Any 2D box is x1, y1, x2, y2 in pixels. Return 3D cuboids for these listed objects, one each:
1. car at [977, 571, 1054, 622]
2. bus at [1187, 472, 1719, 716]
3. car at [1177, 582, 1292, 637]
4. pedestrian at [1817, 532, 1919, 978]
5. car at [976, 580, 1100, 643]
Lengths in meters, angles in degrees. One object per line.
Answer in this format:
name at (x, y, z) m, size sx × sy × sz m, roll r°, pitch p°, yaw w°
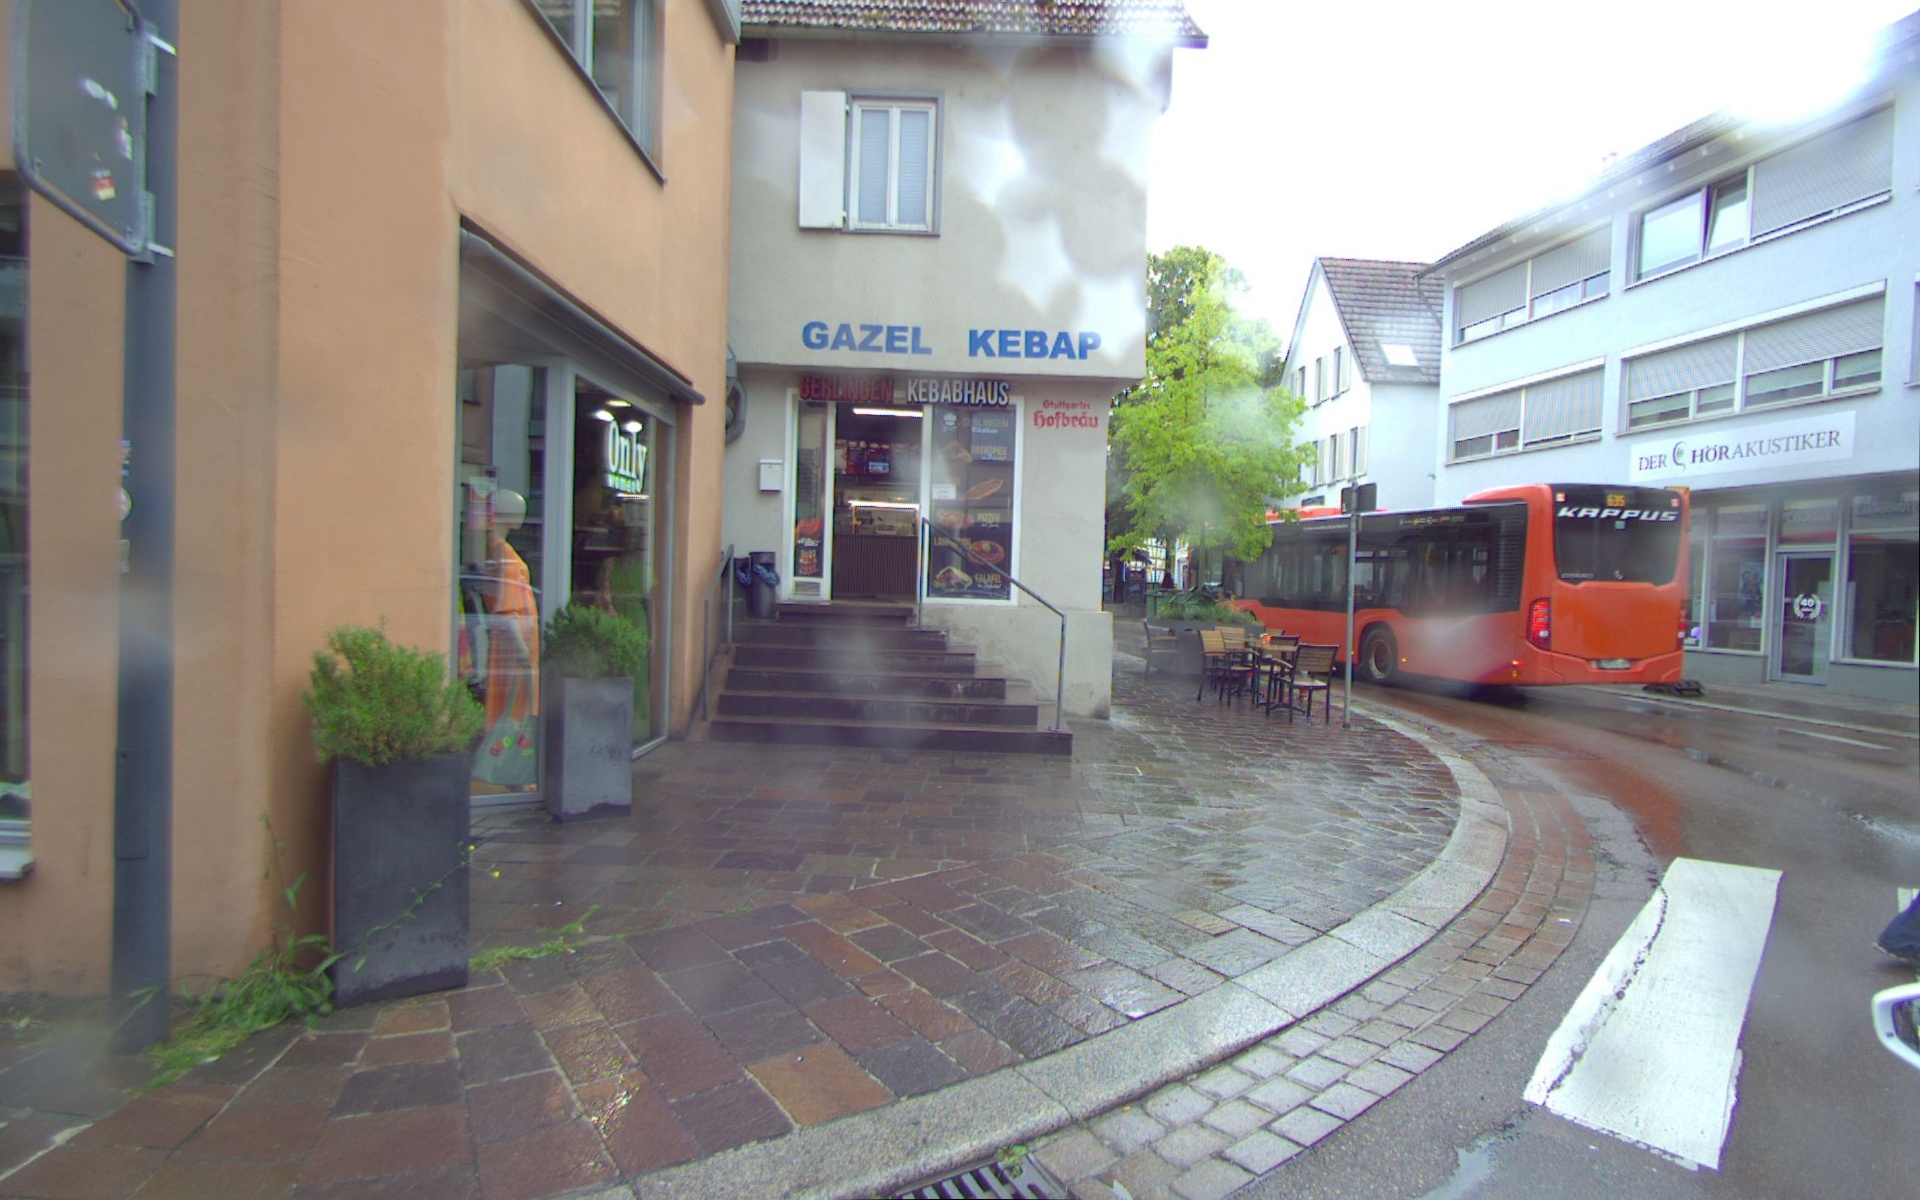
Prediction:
car at (2.121, -0.201, 39.628) m, size 1.918 × 1.805 × 4.715 m, roll 0°, pitch 2°, yaw -11°
bus at (7.708, -0.264, 18.384) m, size 2.772 × 3.130 × 10.581 m, roll 0°, pitch 2°, yaw -12°
car at (8.331, 0.245, 30.793) m, size 1.769 × 1.516 × 3.851 m, roll 2°, pitch 1°, yaw -13°
pedestrian at (4.483, 0.648, 4.247) m, size 1.037 × 1.824 × 0.695 m, roll 2°, pitch 1°, yaw 5°
car at (2.004, 0.262, 27.076) m, size 1.702 × 1.433 × 3.959 m, roll 3°, pitch 1°, yaw -22°
